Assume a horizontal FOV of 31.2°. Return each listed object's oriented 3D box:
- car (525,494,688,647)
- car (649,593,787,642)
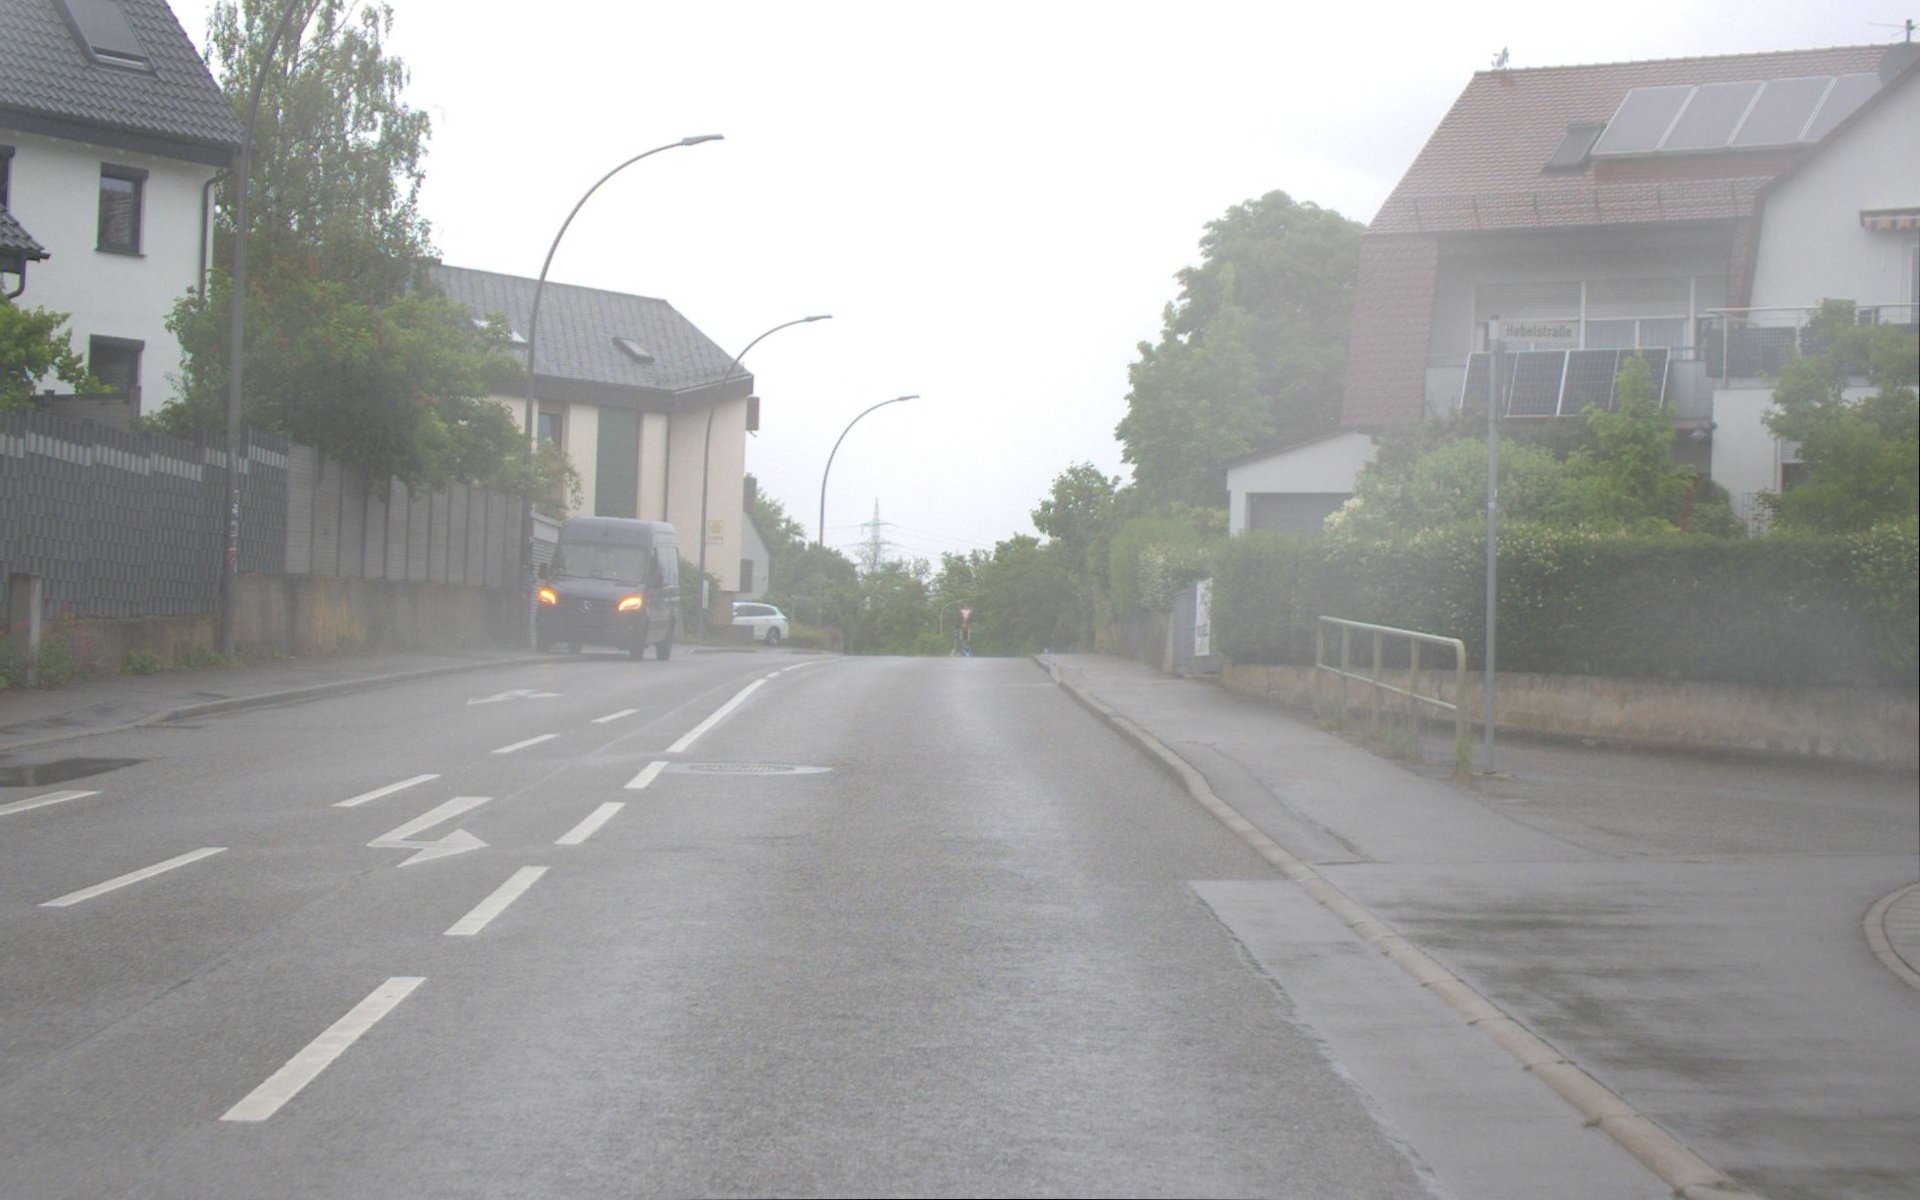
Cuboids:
[{"bbox_3d":[-6.598,-0.518,64.899,2.094,2.640,5.918,3,0,2],"label":"car"},{"bbox_3d":[-8.218,0.611,117.090,1.905,1.472,4.871,3,0,37],"label":"car"}]
